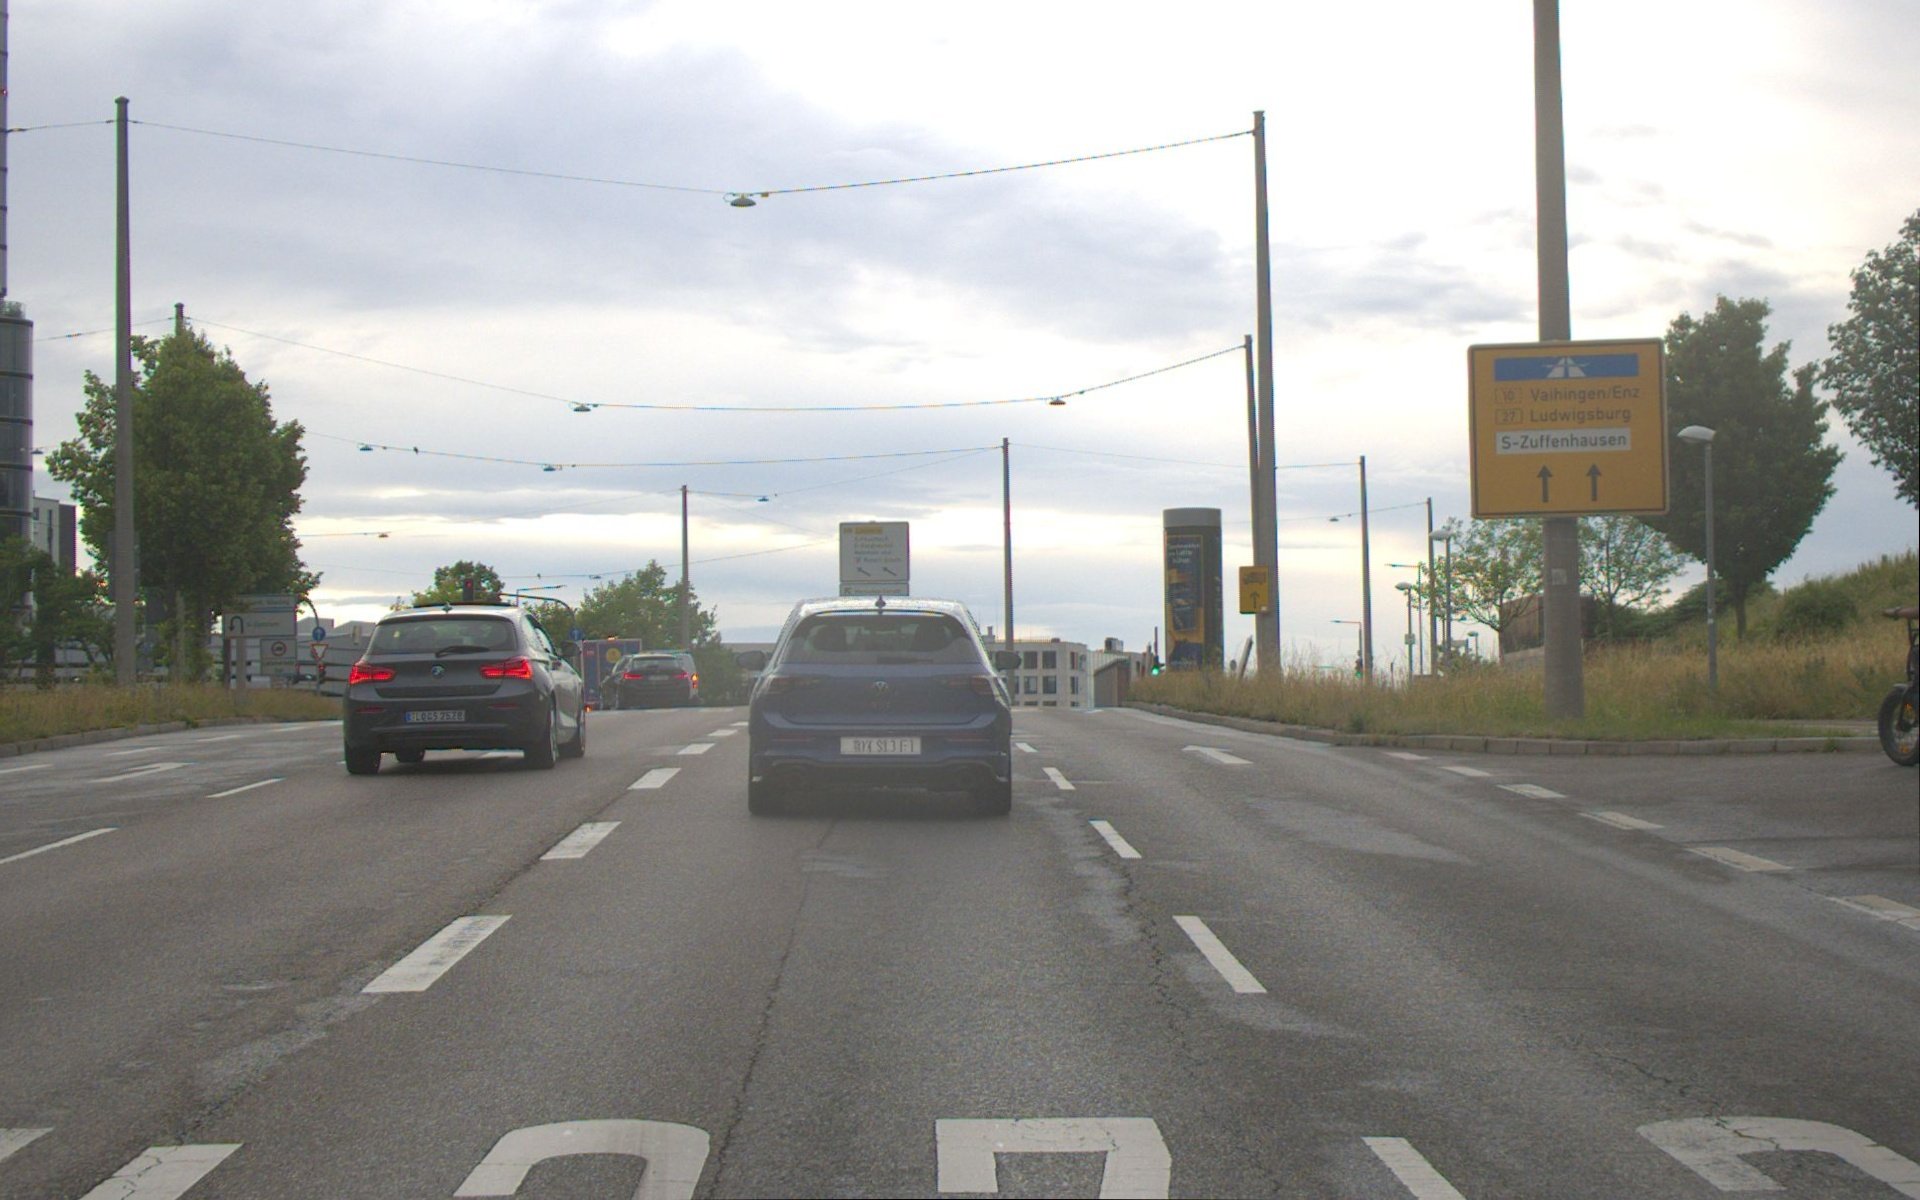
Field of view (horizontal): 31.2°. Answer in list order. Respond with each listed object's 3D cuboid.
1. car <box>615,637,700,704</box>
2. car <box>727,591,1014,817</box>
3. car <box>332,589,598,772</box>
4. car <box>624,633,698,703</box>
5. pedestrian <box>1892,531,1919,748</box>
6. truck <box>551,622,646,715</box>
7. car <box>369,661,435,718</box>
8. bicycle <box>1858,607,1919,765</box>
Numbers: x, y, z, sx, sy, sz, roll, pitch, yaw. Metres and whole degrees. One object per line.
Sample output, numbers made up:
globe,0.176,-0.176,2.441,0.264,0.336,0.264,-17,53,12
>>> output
car,-7.590,1.754,86.570,1.722,1.536,3.703,1,1,1
car,-0.574,0.665,24.066,1.838,1.389,4.000,0,1,0
car,-4.326,0.661,30.562,1.869,1.456,3.976,-1,1,-1
car,-9.208,2.114,105.552,1.904,1.966,5.093,-2,-2,-8
pedestrian,7.278,0.269,24.772,0.632,1.565,0.896,-5,2,-13
truck,-12.867,2.461,121.893,2.665,3.209,6.550,0,-2,-12
car,-21.511,3.441,132.395,1.993,2.007,4.001,-3,1,-15
bicycle,7.266,0.623,24.948,0.632,1.101,1.754,-5,1,-13
